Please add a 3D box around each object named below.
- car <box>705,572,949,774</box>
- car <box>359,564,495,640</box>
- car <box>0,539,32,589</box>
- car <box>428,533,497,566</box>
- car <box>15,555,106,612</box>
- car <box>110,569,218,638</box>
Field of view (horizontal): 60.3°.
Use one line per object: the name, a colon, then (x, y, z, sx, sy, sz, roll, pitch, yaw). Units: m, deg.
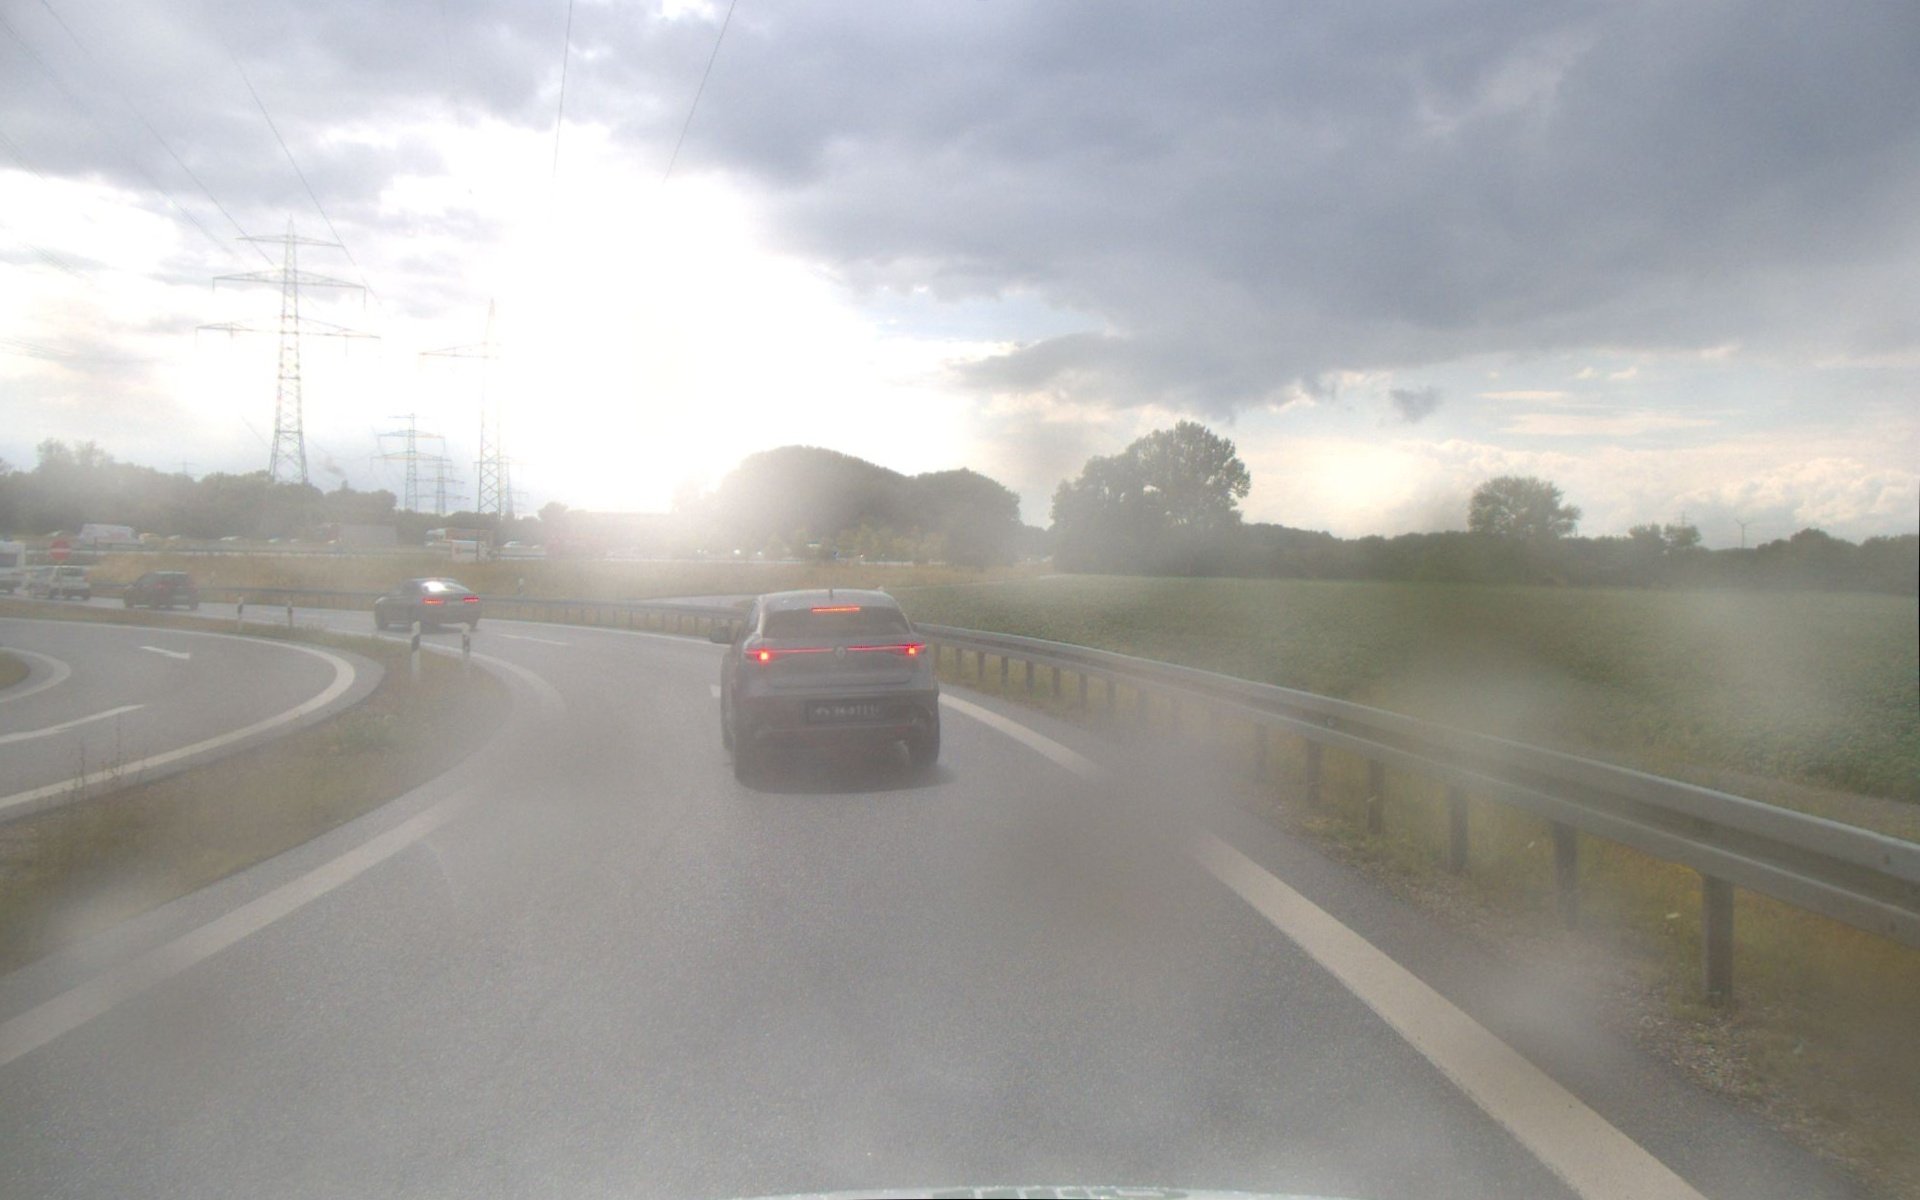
car: (-1.326, 0.554, 15.566, 1.956, 1.593, 4.143, -1, 1, -7)
car: (-16.207, 0.031, 50.088, 2.107, 2.053, 5.458, 1, 1, -38)
car: (-49.083, -1.885, 84.372, 2.335, 2.346, 5.059, -1, 4, -38)
car: (-58.852, -5.910, 195.887, 3.311, 3.673, 9.051, 1, 1, 16)
car: (-41.663, -0.809, 76.582, 5.044, 2.346, 2.343, 5, 4, 44)
car: (-31.520, 0.085, 65.424, 5.044, 2.346, 2.343, 5, 4, 44)
